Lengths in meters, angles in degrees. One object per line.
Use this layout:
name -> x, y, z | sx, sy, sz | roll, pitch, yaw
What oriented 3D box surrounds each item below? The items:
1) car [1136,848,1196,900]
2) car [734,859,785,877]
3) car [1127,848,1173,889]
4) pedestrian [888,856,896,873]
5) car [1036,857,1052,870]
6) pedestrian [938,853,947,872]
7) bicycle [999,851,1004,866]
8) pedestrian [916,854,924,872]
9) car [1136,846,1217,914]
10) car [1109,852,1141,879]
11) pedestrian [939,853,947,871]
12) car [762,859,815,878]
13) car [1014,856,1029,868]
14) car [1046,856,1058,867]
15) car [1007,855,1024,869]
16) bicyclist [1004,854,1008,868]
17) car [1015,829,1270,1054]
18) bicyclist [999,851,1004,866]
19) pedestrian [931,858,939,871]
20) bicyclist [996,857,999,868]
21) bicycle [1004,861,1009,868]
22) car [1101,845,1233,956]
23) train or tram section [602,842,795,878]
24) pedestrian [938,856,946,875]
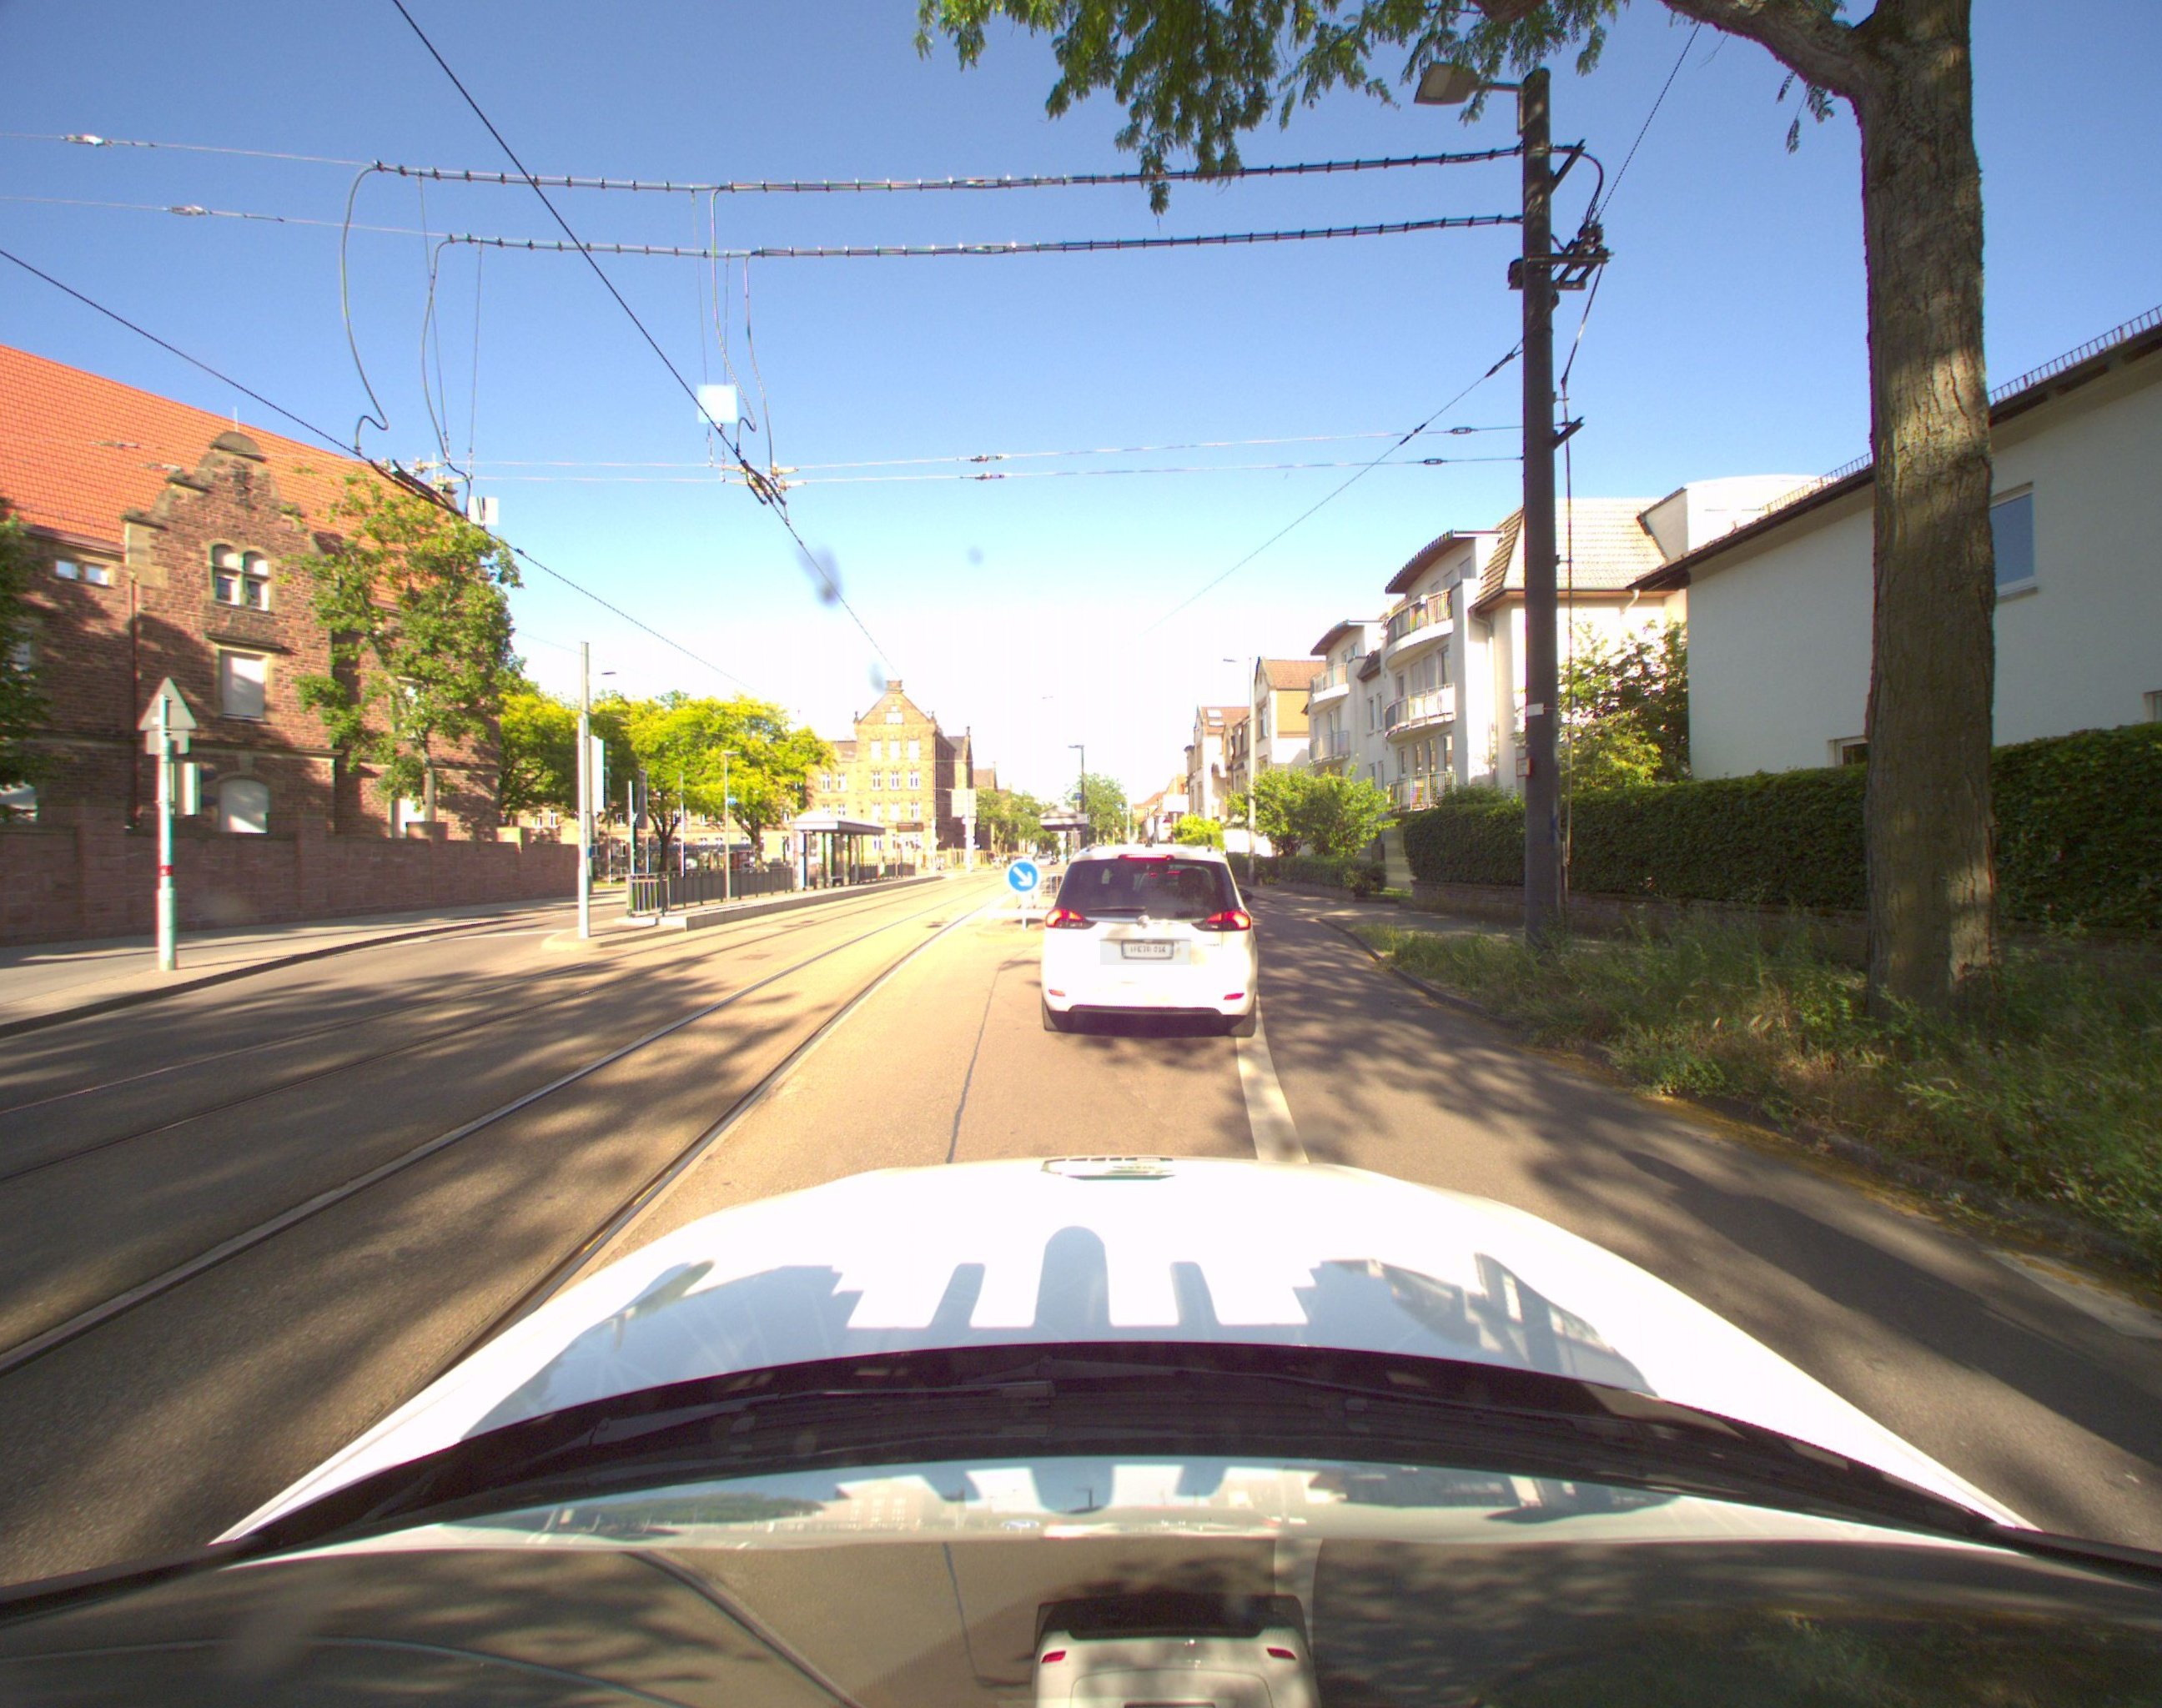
car -> 2.979, 0.648, 28.341 | 1.897, 1.661, 4.007 | -1, 0, 6
car -> -29.651, 1.306, 75.209 | 3.976, 1.630, 1.817 | 0, -1, -2
car -> 2.999, 0.612, 36.184 | 1.899, 1.661, 4.003 | -1, 0, 3
pedestrian -> -19.849, 1.148, 85.631 | 0.768, 1.774, 0.717 | 0, -1, -15
car -> -4.787, 1.226, 105.169 | 1.740, 1.716, 4.001 | 0, -1, 2
pedestrian -> -14.549, 0.859, 85.510 | 0.796, 2.014, 0.717 | 0, -1, -15
bicycle -> -10.691, 0.617, 109.373 | 0.485, 2.013, 1.406 | -1, 0, 2
pedestrian -> -17.962, 1.038, 90.664 | 0.683, 2.014, 0.621 | -1, -1, 44
car -> 2.623, 0.634, 21.684 | 1.896, 1.624, 4.010 | -1, 0, 9
car -> 2.845, 0.746, 53.177 | 1.901, 1.661, 4.000 | -1, 0, 0
pedestrian -> -15.245, 0.893, 89.786 | 0.796, 2.014, 0.717 | 0, -1, -13
car -> -25.443, 1.231, 70.966 | 3.976, 1.630, 1.817 | 0, -1, -2
car -> -8.328, 1.105, 114.114 | 1.740, 1.716, 4.001 | 0, -1, 2
car -> -4.601, 1.170, 129.392 | 1.740, 1.716, 4.001 | 0, -1, 2
car -> -8.531, 1.012, 106.393 | 1.740, 1.716, 4.001 | 0, -1, 2
bicyclist -> -10.247, 0.957, 111.931 | 0.486, 2.014, 0.502 | 0, -1, 1
car -> 0.763, 0.661, 8.134 | 1.896, 1.661, 4.010 | -1, 0, 9
bicyclist -> -10.688, 0.617, 109.406 | 0.496, 2.013, 0.572 | -1, 0, 1
pedestrian -> -17.153, 1.236, 95.721 | 0.650, 1.612, 0.713 | 0, -1, 9
bicyclist -> -10.608, 1.044, 103.078 | 0.312, 1.444, 0.384 | -1, 0, 1
bicycle -> -10.238, 1.470, 111.953 | 0.485, 0.971, 1.406 | 0, -1, 2
car -> 1.562, 0.684, 13.863 | 1.896, 1.597, 4.010 | -1, 0, 9
train or tram section -> -37.841, 0.567, 81.141 | 17.346, 3.154, 3.344 | -1, -1, -3
pedestrian -> -15.127, 1.258, 88.514 | 0.795, 2.014, 1.042 | 0, -1, -12
